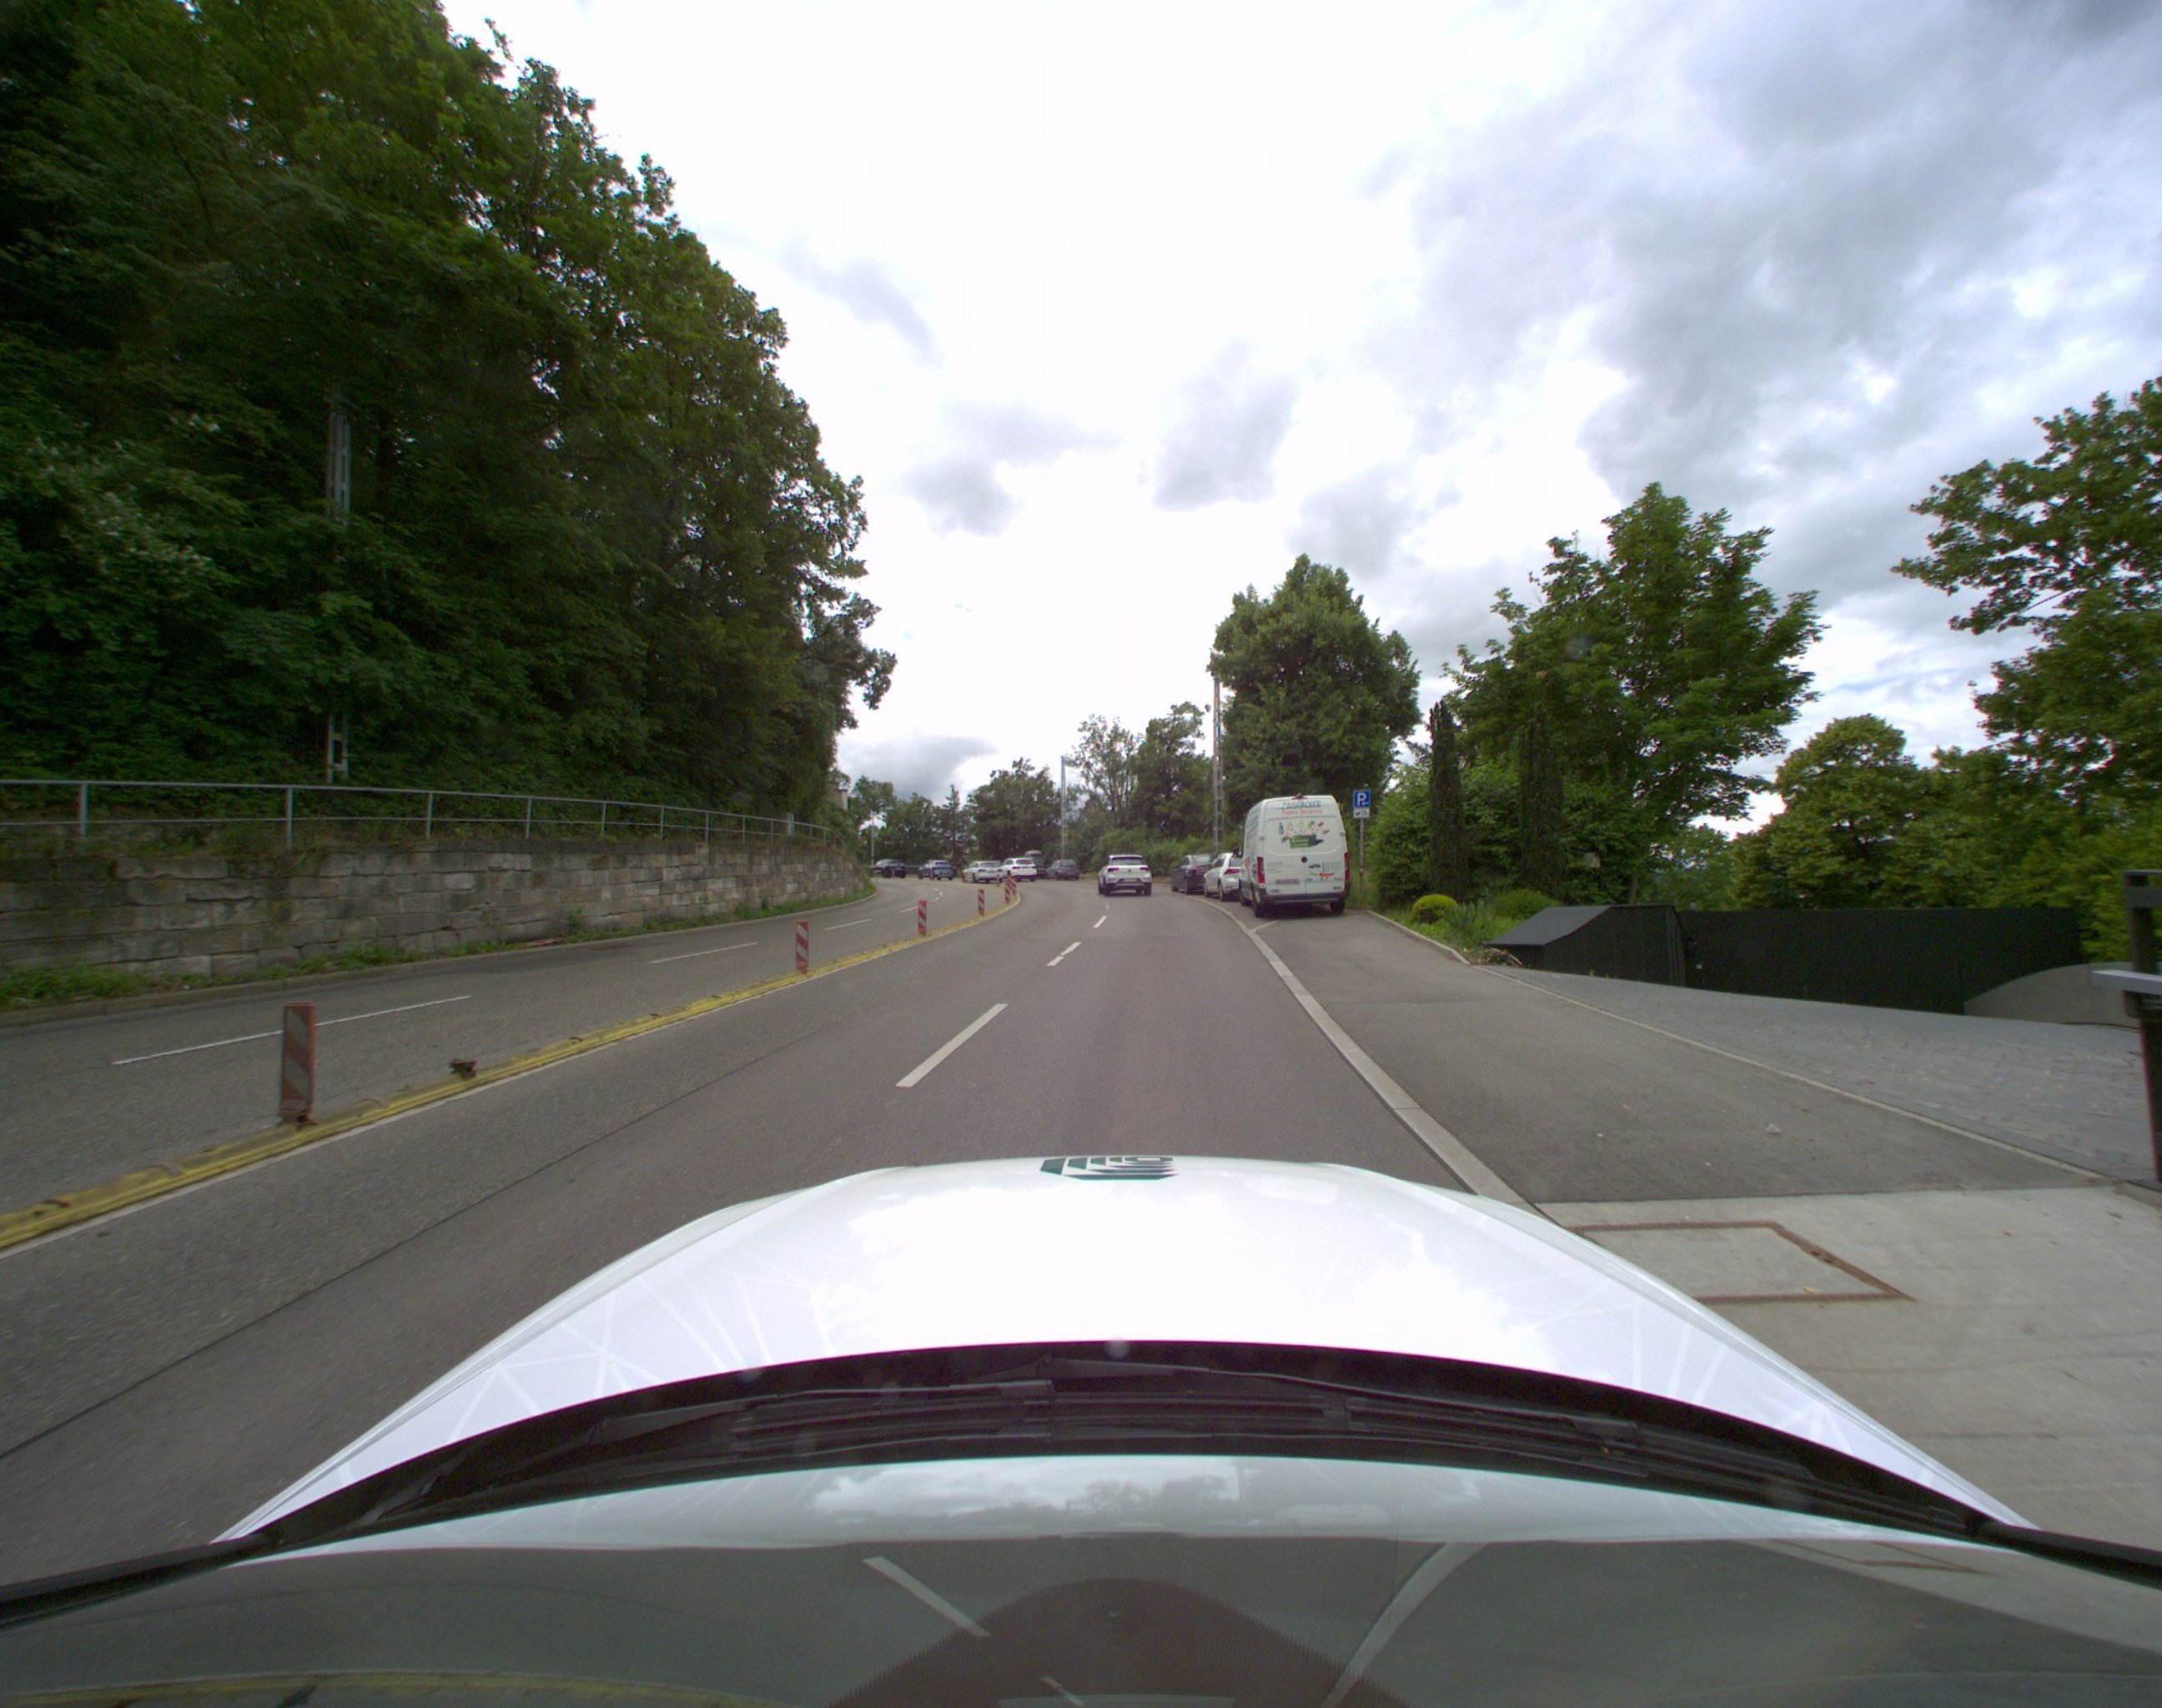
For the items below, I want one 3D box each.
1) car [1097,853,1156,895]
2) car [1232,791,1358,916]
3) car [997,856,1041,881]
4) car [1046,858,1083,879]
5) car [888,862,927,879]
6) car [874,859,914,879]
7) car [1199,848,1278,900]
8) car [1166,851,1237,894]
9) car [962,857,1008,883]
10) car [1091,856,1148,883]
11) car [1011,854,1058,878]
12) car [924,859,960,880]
[{"bbox_3d":[1.701,0.757,31.599,1.863,1.536,3.798,0,-1,-4],"label":"car"},{"bbox_3d":[5.004,0.012,19.943,2.073,2.523,5.855,-3,-1,7],"label":"car"},{"bbox_3d":[-4.366,1.016,56.788,2.001,1.586,3.971,2,-2,-22],"label":"car"},{"bbox_3d":[-1.208,1.031,57.748,1.644,1.464,3.978,1,-1,-15],"label":"car"},{"bbox_3d":[-16.910,1.607,79.426,3.490,1.525,1.710,0,-2,34],"label":"car"},{"bbox_3d":[-16.816,1.308,73.179,1.830,1.690,3.954,3,-2,-39],"label":"car"},{"bbox_3d":[4.866,0.603,25.609,1.695,1.464,3.833,-2,-1,-1],"label":"car"},{"bbox_3d":[4.433,0.670,30.665,1.697,1.464,4.657,-1,0,-4],"label":"car"},{"bbox_3d":[-6.382,1.072,53.727,1.915,1.574,3.969,2,-2,-23],"label":"car"},{"bbox_3d":[2.175,0.895,46.983,1.784,1.418,3.972,-2,-1,-21],"label":"car"},{"bbox_3d":[-3.624,0.961,63.029,1.809,1.772,4.564,1,-1,-29],"label":"car"},{"bbox_3d":[-11.021,1.230,64.477,2.001,1.541,3.981,2,-2,-21],"label":"car"}]
